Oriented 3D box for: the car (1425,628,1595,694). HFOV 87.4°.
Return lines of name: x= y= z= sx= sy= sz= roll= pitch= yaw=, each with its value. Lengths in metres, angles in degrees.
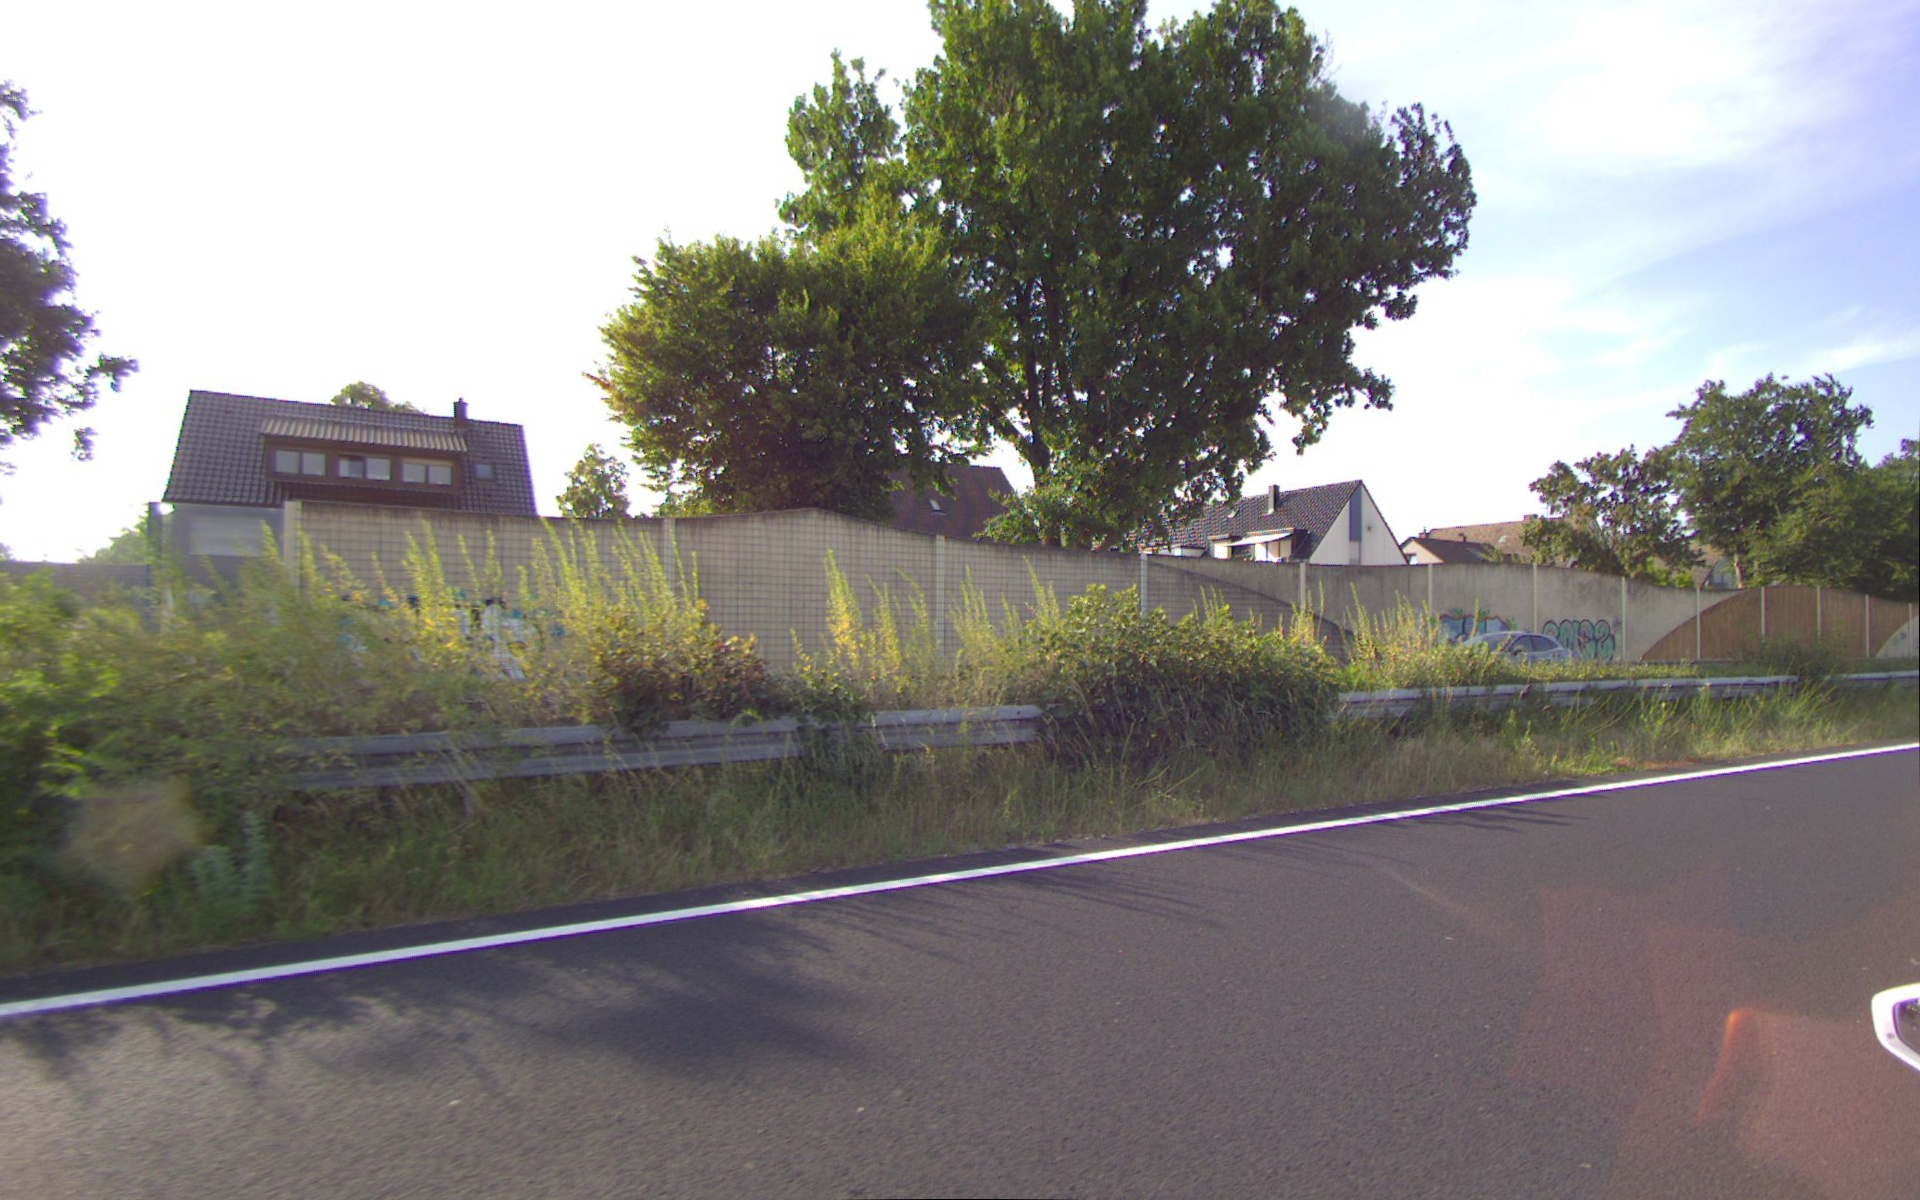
car: x=13.210 y=1.433 z=24.068 sx=4.240 sy=1.379 sz=1.640 roll=2 pitch=1 yaw=-31
